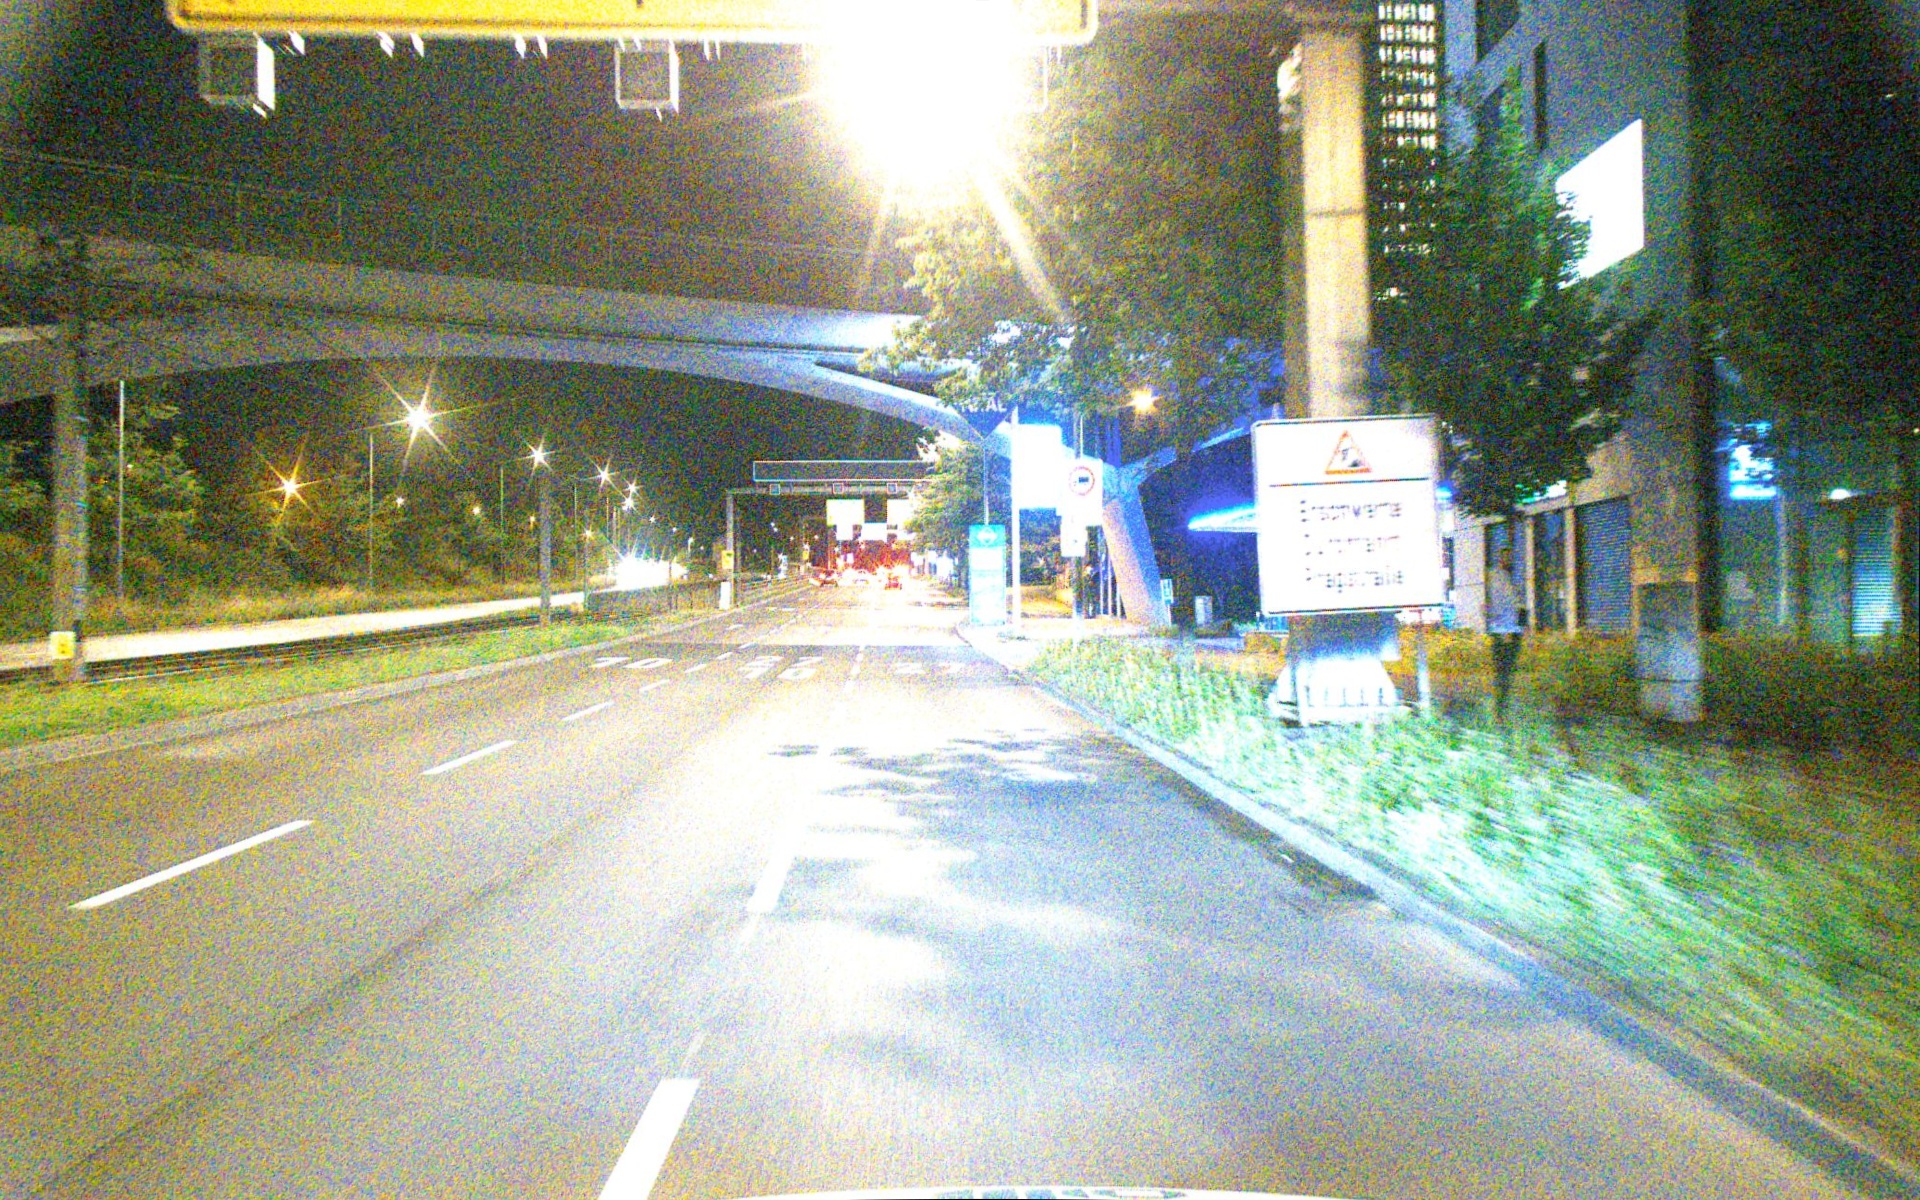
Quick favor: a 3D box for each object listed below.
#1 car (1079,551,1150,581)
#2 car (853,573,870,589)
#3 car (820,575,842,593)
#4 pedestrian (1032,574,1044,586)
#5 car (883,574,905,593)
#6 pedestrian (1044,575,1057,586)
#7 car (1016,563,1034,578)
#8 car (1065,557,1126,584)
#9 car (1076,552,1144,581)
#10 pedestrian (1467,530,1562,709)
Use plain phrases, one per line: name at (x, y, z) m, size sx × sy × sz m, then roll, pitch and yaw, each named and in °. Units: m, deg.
car at (9.270, -2.032, 99.244) m, size 4.036 × 1.549 × 1.822 m, roll -2°, pitch -1°, yaw -1°
car at (-11.619, -2.270, 194.772) m, size 1.746 × 1.741 × 3.999 m, roll 1°, pitch 0°, yaw -1°
car at (-13.275, -1.658, 170.046) m, size 1.928 × 1.741 × 3.999 m, roll 1°, pitch 0°, yaw -1°
pedestrian at (7.281, -1.849, 154.673) m, size 0.897 × 1.056 × 0.767 m, roll -1°, pitch 0°, yaw 41°
car at (-6.399, -1.638, 161.052) m, size 1.928 × 1.741 × 3.999 m, roll 1°, pitch 0°, yaw -1°
pedestrian at (8.456, -1.839, 154.683) m, size 0.982 × 1.025 × 0.767 m, roll 1°, pitch -1°, yaw -18°
car at (7.202, -3.236, 184.217) m, size 1.853 × 1.538 × 3.638 m, roll 1°, pitch 0°, yaw 4°
car at (8.738, -1.900, 106.703) m, size 3.652 × 1.515 × 1.740 m, roll -2°, pitch -1°, yaw -5°
car at (9.206, -2.069, 101.669) m, size 3.906 × 1.598 × 1.738 m, roll -2°, pitch -1°, yaw -1°
pedestrian at (6.252, 0.219, 18.682) m, size 0.787 × 1.946 × 0.794 m, roll -3°, pitch 0°, yaw 7°
